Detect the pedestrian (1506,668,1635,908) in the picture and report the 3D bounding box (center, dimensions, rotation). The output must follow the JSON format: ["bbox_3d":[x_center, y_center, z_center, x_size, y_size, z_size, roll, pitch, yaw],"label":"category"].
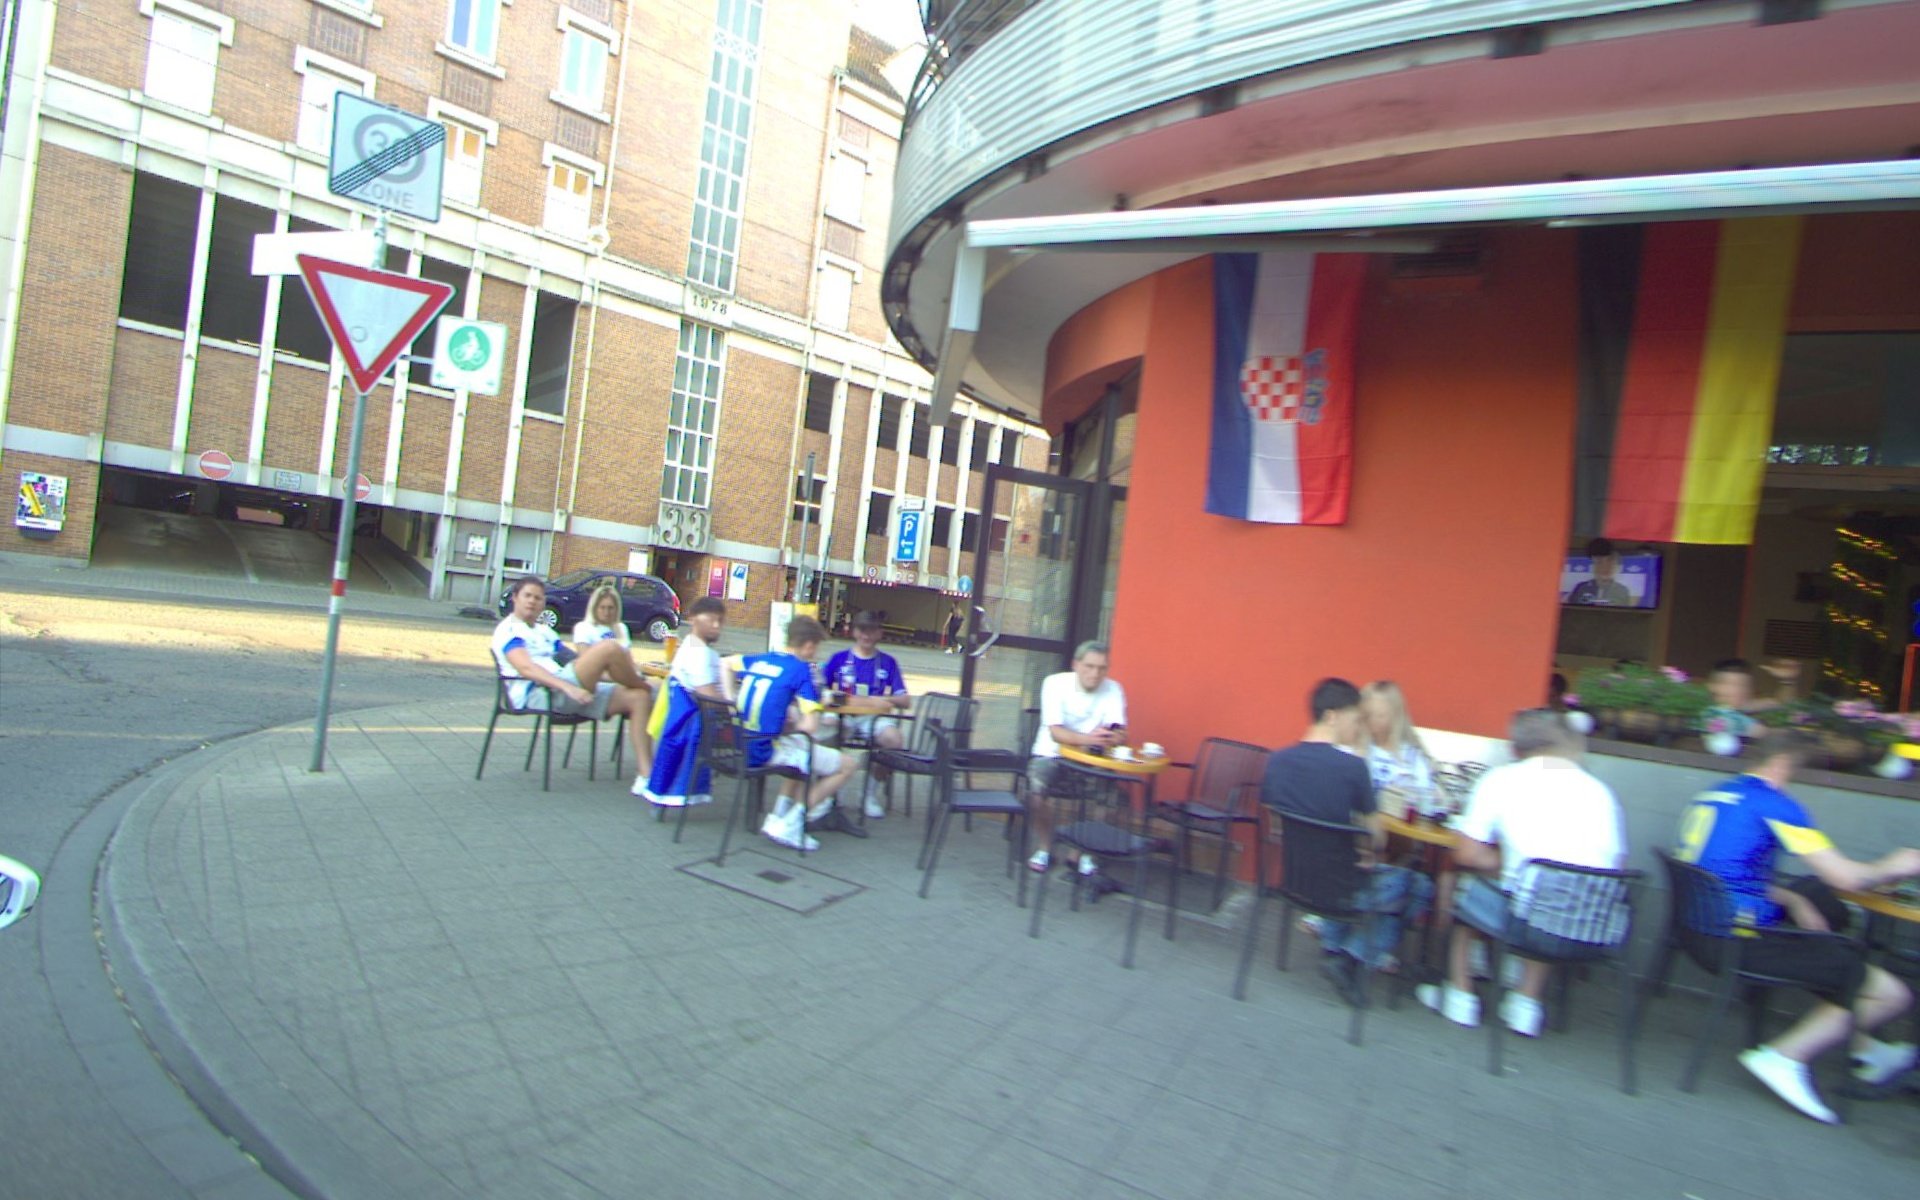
[{"bbox_3d":[4.962,1.492,8.218,0.606,1.798,0.612,7,0,19],"label":"pedestrian"}]

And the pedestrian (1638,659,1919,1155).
[{"bbox_3d":[3.152,1.054,3.813,0.667,1.554,0.853,7,-1,24],"label":"pedestrian"}]

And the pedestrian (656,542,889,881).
[{"bbox_3d":[-0.975,0.526,5.259,0.838,1.557,0.712,7,4,29],"label":"pedestrian"}]

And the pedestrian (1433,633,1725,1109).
[{"bbox_3d":[2.295,0.944,3.844,0.687,1.548,0.649,7,4,23],"label":"pedestrian"}]

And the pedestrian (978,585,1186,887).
[{"bbox_3d":[0.678,0.747,5.651,0.745,1.554,0.643,8,-1,-30],"label":"pedestrian"}]

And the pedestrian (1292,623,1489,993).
[{"bbox_3d":[2.052,0.923,4.817,0.643,1.556,0.674,7,2,25],"label":"pedestrian"}]

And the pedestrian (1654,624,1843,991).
[{"bbox_3d":[4.201,1.064,5.400,0.512,1.798,0.538,7,0,24],"label":"pedestrian"}]

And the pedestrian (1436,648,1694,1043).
[{"bbox_3d":[2.703,1.035,4.603,0.769,1.522,0.769,7,0,25],"label":"pedestrian"}]

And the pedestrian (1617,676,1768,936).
[{"bbox_3d":[5.541,1.517,7.650,0.606,1.798,0.612,7,0,19],"label":"pedestrian"}]

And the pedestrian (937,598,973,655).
[{"bbox_3d":[-0.177,0.932,35.102,0.882,1.855,0.636,7,0,28],"label":"pedestrian"}]

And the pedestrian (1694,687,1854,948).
[{"bbox_3d":[6.148,1.602,7.637,0.606,1.798,0.612,7,0,19],"label":"pedestrian"}]

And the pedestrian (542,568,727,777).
[{"bbox_3d":[-2.233,0.489,6.990,0.949,1.297,0.686,5,0,2],"label":"pedestrian"}]

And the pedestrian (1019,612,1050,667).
[{"bbox_3d":[2.610,1.387,35.343,0.668,1.850,0.674,7,0,28],"label":"pedestrian"}]

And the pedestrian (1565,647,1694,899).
[{"bbox_3d":[5.919,1.489,8.942,0.658,2.038,0.814,7,0,27],"label":"pedestrian"}]

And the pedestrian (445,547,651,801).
[{"bbox_3d":[-2.520,0.434,6.241,0.823,1.399,0.771,6,0,2],"label":"pedestrian"}]

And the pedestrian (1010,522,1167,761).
[{"bbox_3d":[1.186,0.378,9.250,0.843,2.038,0.907,7,0,41],"label":"pedestrian"}]

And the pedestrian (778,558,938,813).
[{"bbox_3d":[-0.701,0.566,6.849,0.838,1.554,0.714,8,-1,-7],"label":"pedestrian"}]

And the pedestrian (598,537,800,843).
[{"bbox_3d":[-1.450,0.473,5.596,0.681,1.554,0.710,5,-1,44],"label":"pedestrian"}]

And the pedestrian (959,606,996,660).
[{"bbox_3d":[0.625,1.160,35.324,0.881,1.771,0.674,7,0,28],"label":"pedestrian"}]

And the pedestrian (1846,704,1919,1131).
[{"bbox_3d":[3.768,1.152,3.621,0.551,1.452,0.667,7,2,25],"label":"pedestrian"}]

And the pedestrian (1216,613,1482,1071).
[{"bbox_3d":[1.545,0.873,4.027,0.746,1.557,0.713,7,4,23],"label":"pedestrian"}]

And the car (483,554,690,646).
[{"bbox_3d":[-8.623,0.023,23.361,3.970,1.538,1.979,9,-1,-39],"label":"car"}]
